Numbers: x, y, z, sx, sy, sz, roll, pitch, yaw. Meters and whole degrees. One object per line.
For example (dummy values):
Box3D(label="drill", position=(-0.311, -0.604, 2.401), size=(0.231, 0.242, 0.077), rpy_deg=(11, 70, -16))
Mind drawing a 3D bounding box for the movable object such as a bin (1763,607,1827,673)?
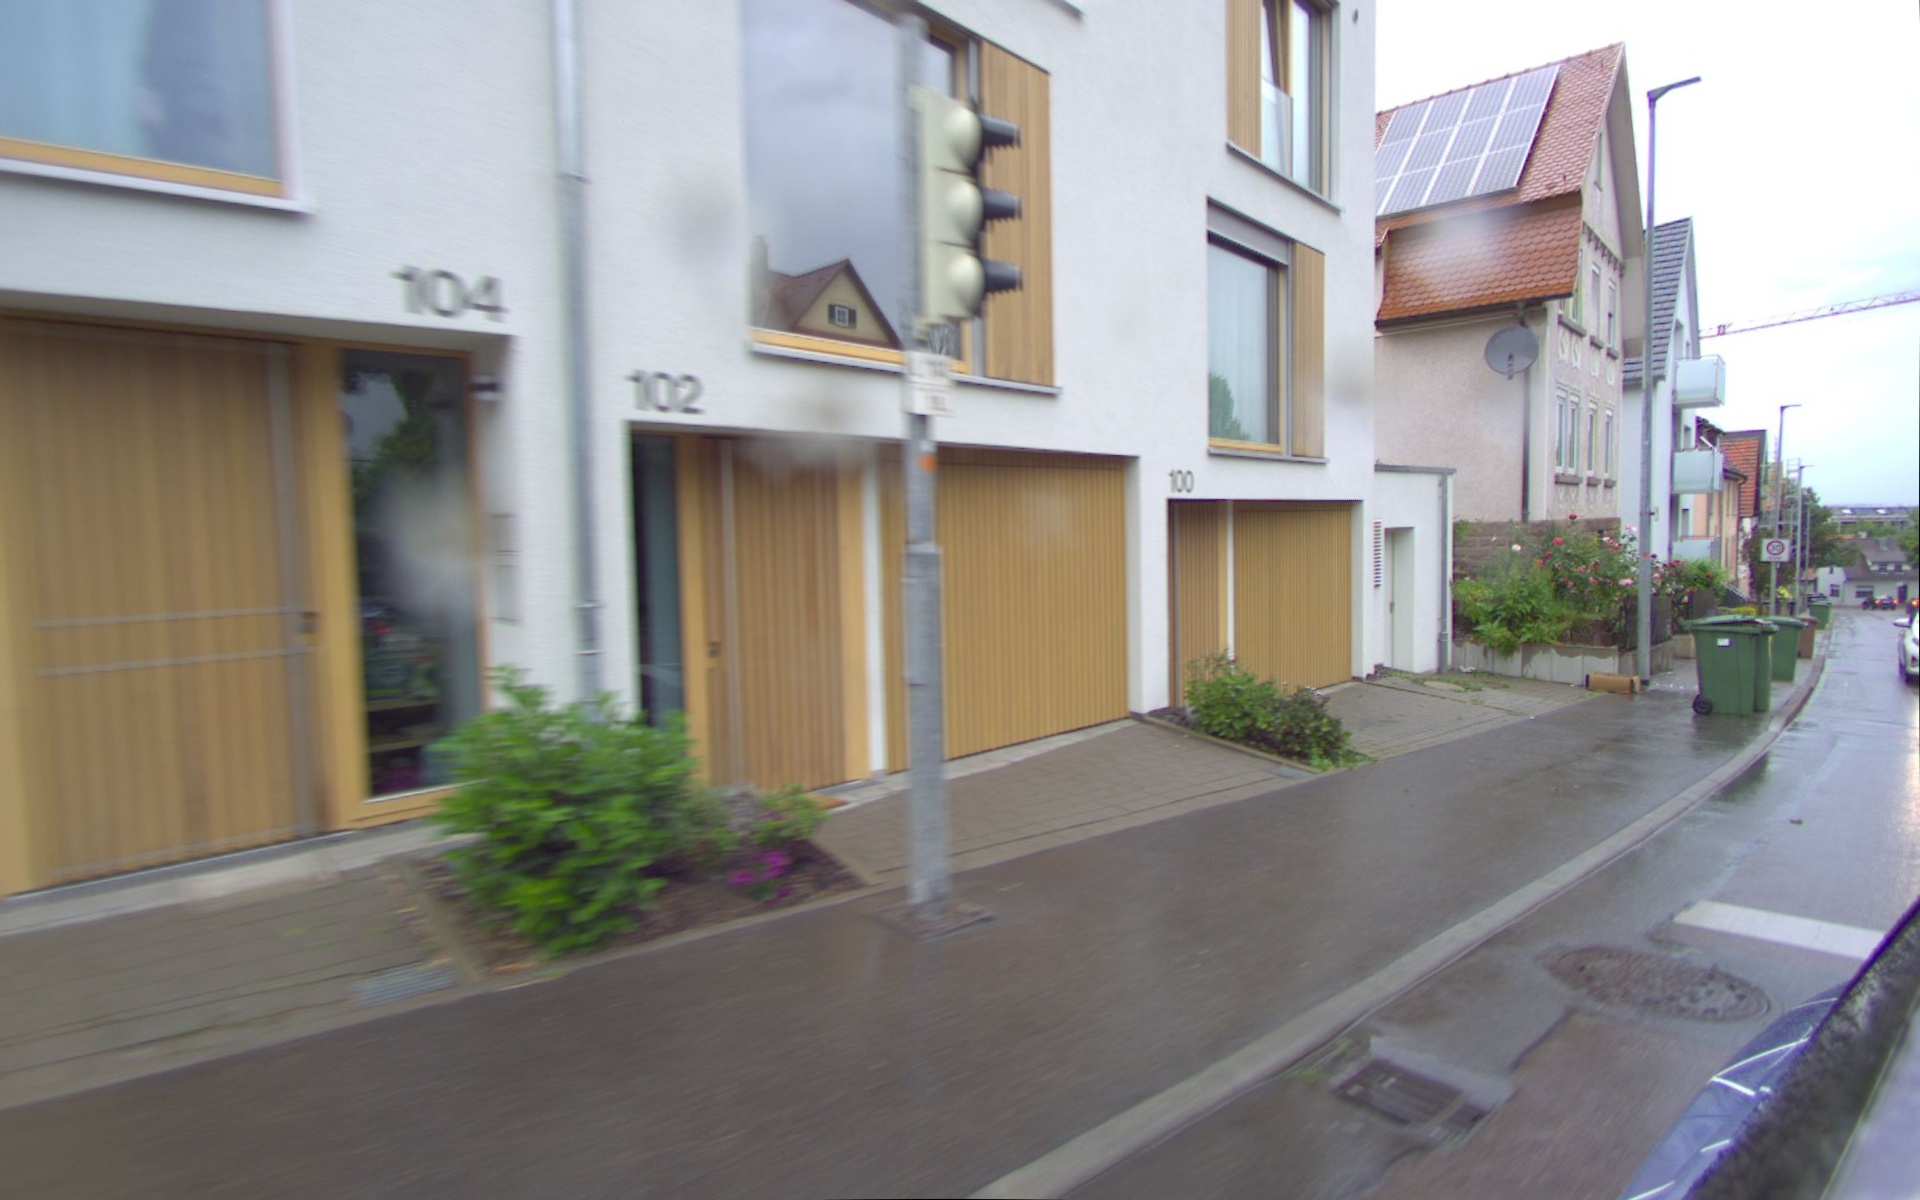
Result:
Box3D(label="movable object such as a bin", position=(14.403, 0.677, 17.461), size=(0.796, 1.084, 0.749), rpy_deg=(0, 0, 44))

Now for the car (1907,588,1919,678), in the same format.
Box3D(label="car", position=(17.897, 0.528, 17.708), size=(1.853, 1.453, 3.956), rpy_deg=(0, 1, 43))

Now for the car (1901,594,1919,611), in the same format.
Box3D(label="car", position=(88.054, 0.241, 93.478), size=(1.559, 1.472, 4.023), rpy_deg=(1, 1, 41))

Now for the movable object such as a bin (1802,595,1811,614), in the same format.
Box3D(label="movable object such as a bin", position=(45.631, 0.251, 54.547), size=(0.379, 1.031, 0.480), rpy_deg=(0, 0, 42))

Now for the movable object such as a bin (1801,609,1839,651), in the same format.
Box3D(label="movable object such as a bin", position=(19.394, 0.666, 22.822), size=(0.630, 0.908, 0.701), rpy_deg=(0, 0, 42))

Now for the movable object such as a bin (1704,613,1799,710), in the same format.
Box3D(label="movable object such as a bin", position=(9.430, 0.704, 12.060), size=(0.835, 1.074, 0.738), rpy_deg=(1, 0, 44))

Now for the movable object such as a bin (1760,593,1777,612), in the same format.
Box3D(label="movable object such as a bin", position=(44.727, 0.154, 55.959), size=(0.609, 0.978, 0.781), rpy_deg=(9, 6, 39))

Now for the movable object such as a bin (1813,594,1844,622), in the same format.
Box3D(label="movable object such as a bin", position=(35.118, 0.312, 40.911), size=(0.914, 1.117, 0.691), rpy_deg=(1, 0, 45))
